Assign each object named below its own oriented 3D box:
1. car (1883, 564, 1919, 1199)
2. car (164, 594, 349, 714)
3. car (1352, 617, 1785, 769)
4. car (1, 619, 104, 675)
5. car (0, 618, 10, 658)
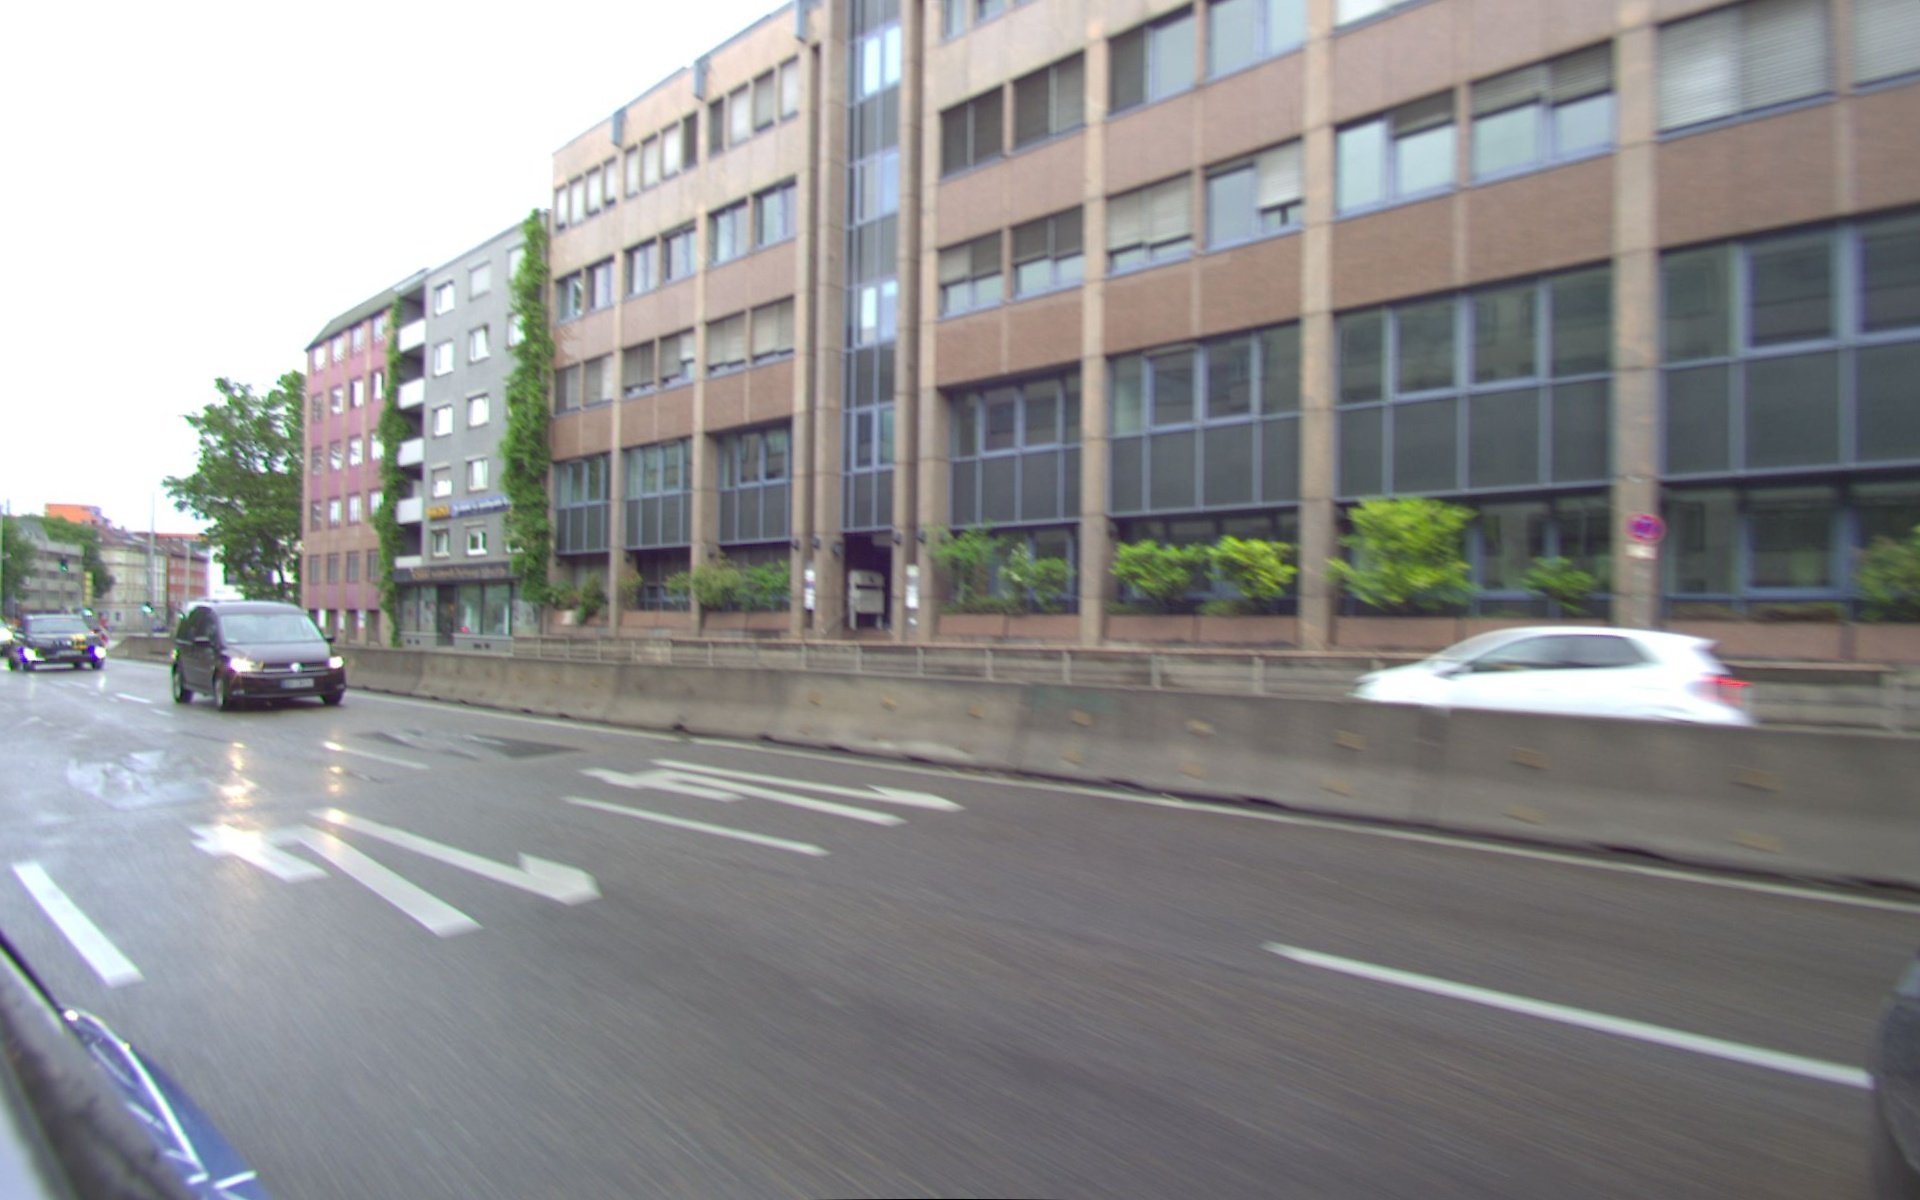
[{"bbox_3d":[3.508,0.633,0.329,4.654,1.454,1.749,-1,-2,41],"label":"car"},{"bbox_3d":[-12.225,0.858,17.482,4.251,1.814,1.774,-1,-1,43],"label":"car"},{"bbox_3d":[6.334,0.858,10.737,3.695,1.329,1.701,-1,-2,41],"label":"car"},{"bbox_3d":[-26.734,1.339,29.777,4.354,1.545,1.749,-1,-2,41],"label":"car"},{"bbox_3d":[-39.427,1.503,40.383,4.654,1.545,1.749,-1,-2,41],"label":"car"}]
